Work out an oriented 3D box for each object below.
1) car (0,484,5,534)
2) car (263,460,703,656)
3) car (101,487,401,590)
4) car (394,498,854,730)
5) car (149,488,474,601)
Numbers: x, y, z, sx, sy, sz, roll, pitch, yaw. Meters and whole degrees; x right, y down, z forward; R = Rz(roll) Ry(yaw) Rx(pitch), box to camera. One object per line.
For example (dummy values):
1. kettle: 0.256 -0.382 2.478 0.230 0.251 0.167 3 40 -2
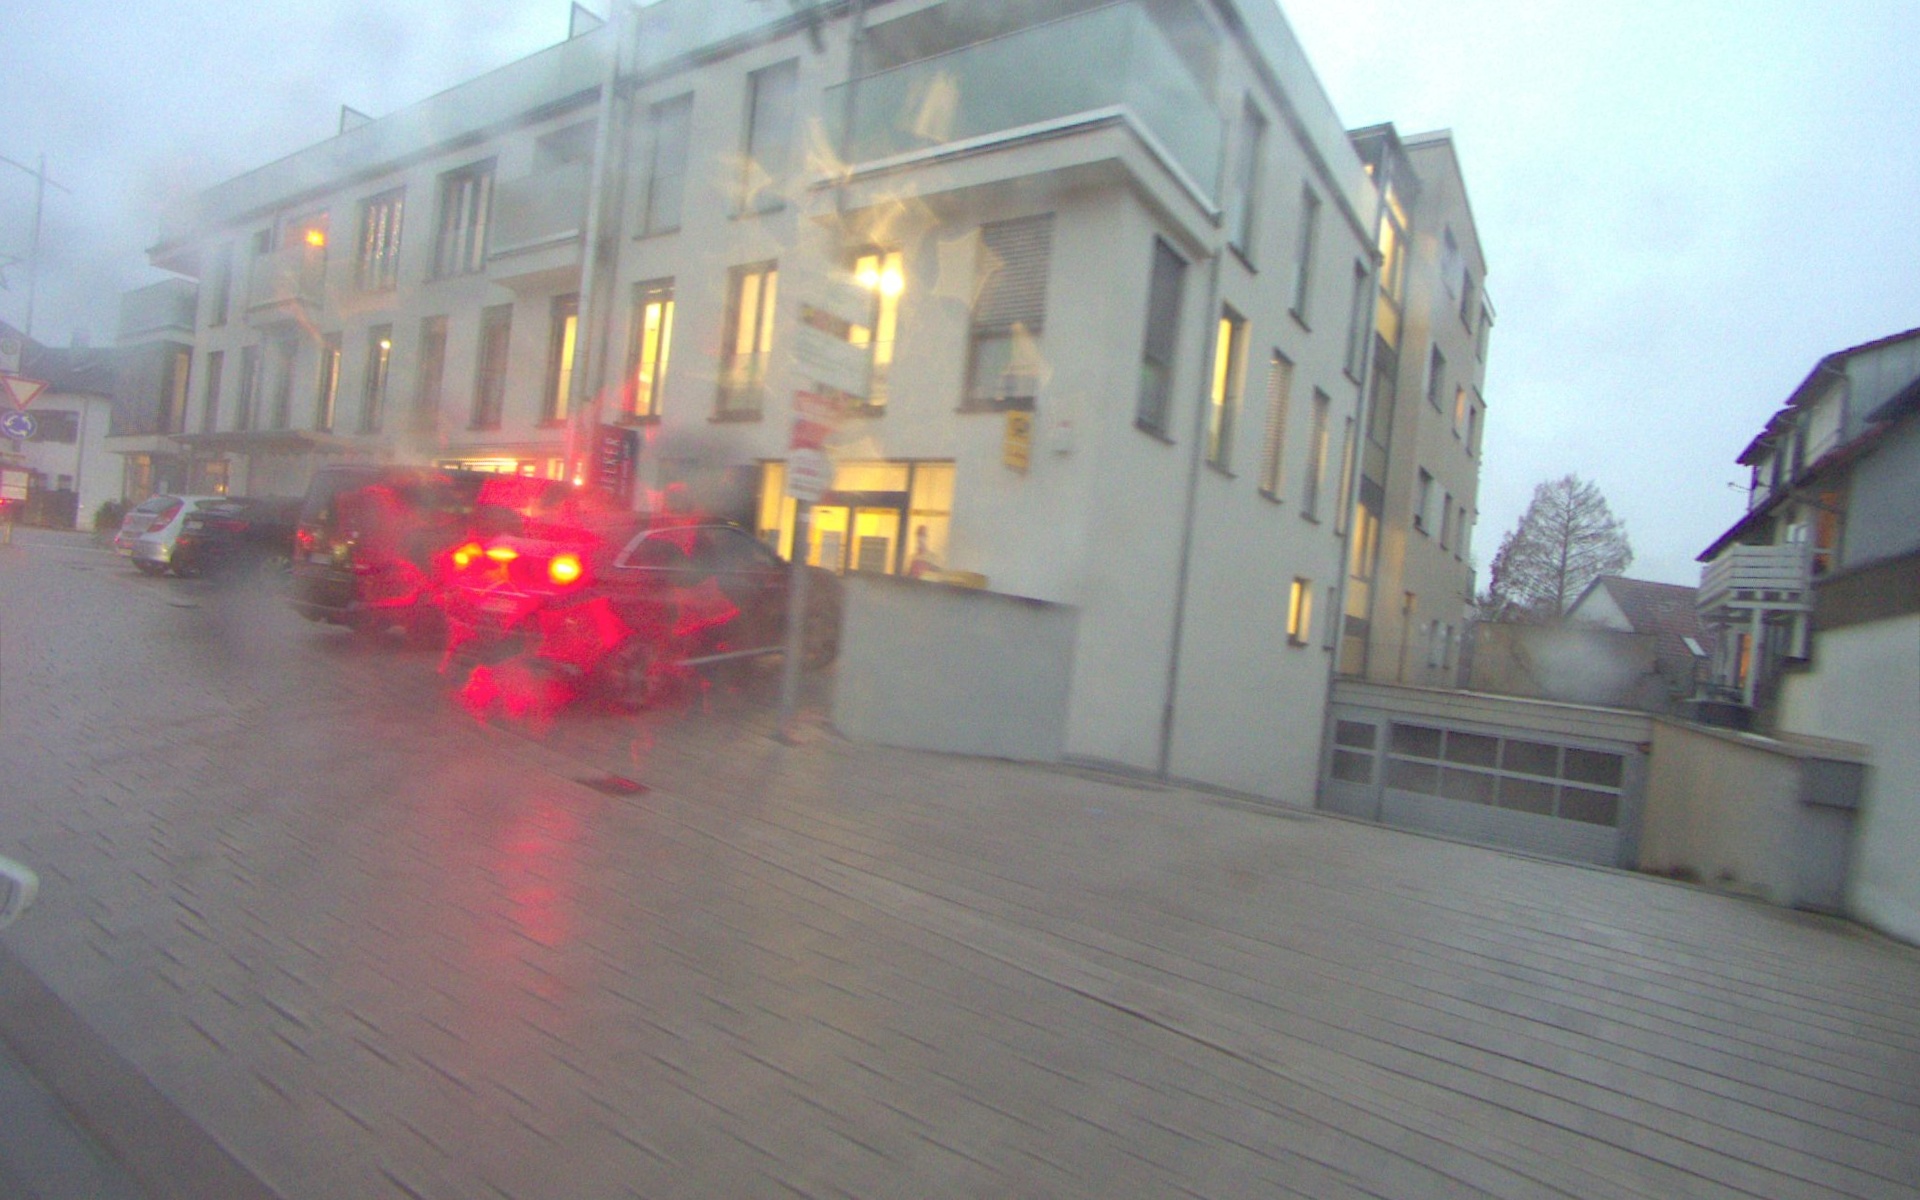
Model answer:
1. car: -41.805 -3.972 42.315 4.439 2.018 2.150 7 3 44
2. car: -5.610 -0.517 12.405 1.919 1.948 4.556 6 4 34
3. car: -13.086 -1.082 18.849 1.763 1.479 4.207 6 2 30
4. car: -2.999 -0.023 9.878 1.772 1.664 4.173 7 6 28
5. car: -10.692 -0.861 16.921 1.763 1.479 4.207 6 2 30
